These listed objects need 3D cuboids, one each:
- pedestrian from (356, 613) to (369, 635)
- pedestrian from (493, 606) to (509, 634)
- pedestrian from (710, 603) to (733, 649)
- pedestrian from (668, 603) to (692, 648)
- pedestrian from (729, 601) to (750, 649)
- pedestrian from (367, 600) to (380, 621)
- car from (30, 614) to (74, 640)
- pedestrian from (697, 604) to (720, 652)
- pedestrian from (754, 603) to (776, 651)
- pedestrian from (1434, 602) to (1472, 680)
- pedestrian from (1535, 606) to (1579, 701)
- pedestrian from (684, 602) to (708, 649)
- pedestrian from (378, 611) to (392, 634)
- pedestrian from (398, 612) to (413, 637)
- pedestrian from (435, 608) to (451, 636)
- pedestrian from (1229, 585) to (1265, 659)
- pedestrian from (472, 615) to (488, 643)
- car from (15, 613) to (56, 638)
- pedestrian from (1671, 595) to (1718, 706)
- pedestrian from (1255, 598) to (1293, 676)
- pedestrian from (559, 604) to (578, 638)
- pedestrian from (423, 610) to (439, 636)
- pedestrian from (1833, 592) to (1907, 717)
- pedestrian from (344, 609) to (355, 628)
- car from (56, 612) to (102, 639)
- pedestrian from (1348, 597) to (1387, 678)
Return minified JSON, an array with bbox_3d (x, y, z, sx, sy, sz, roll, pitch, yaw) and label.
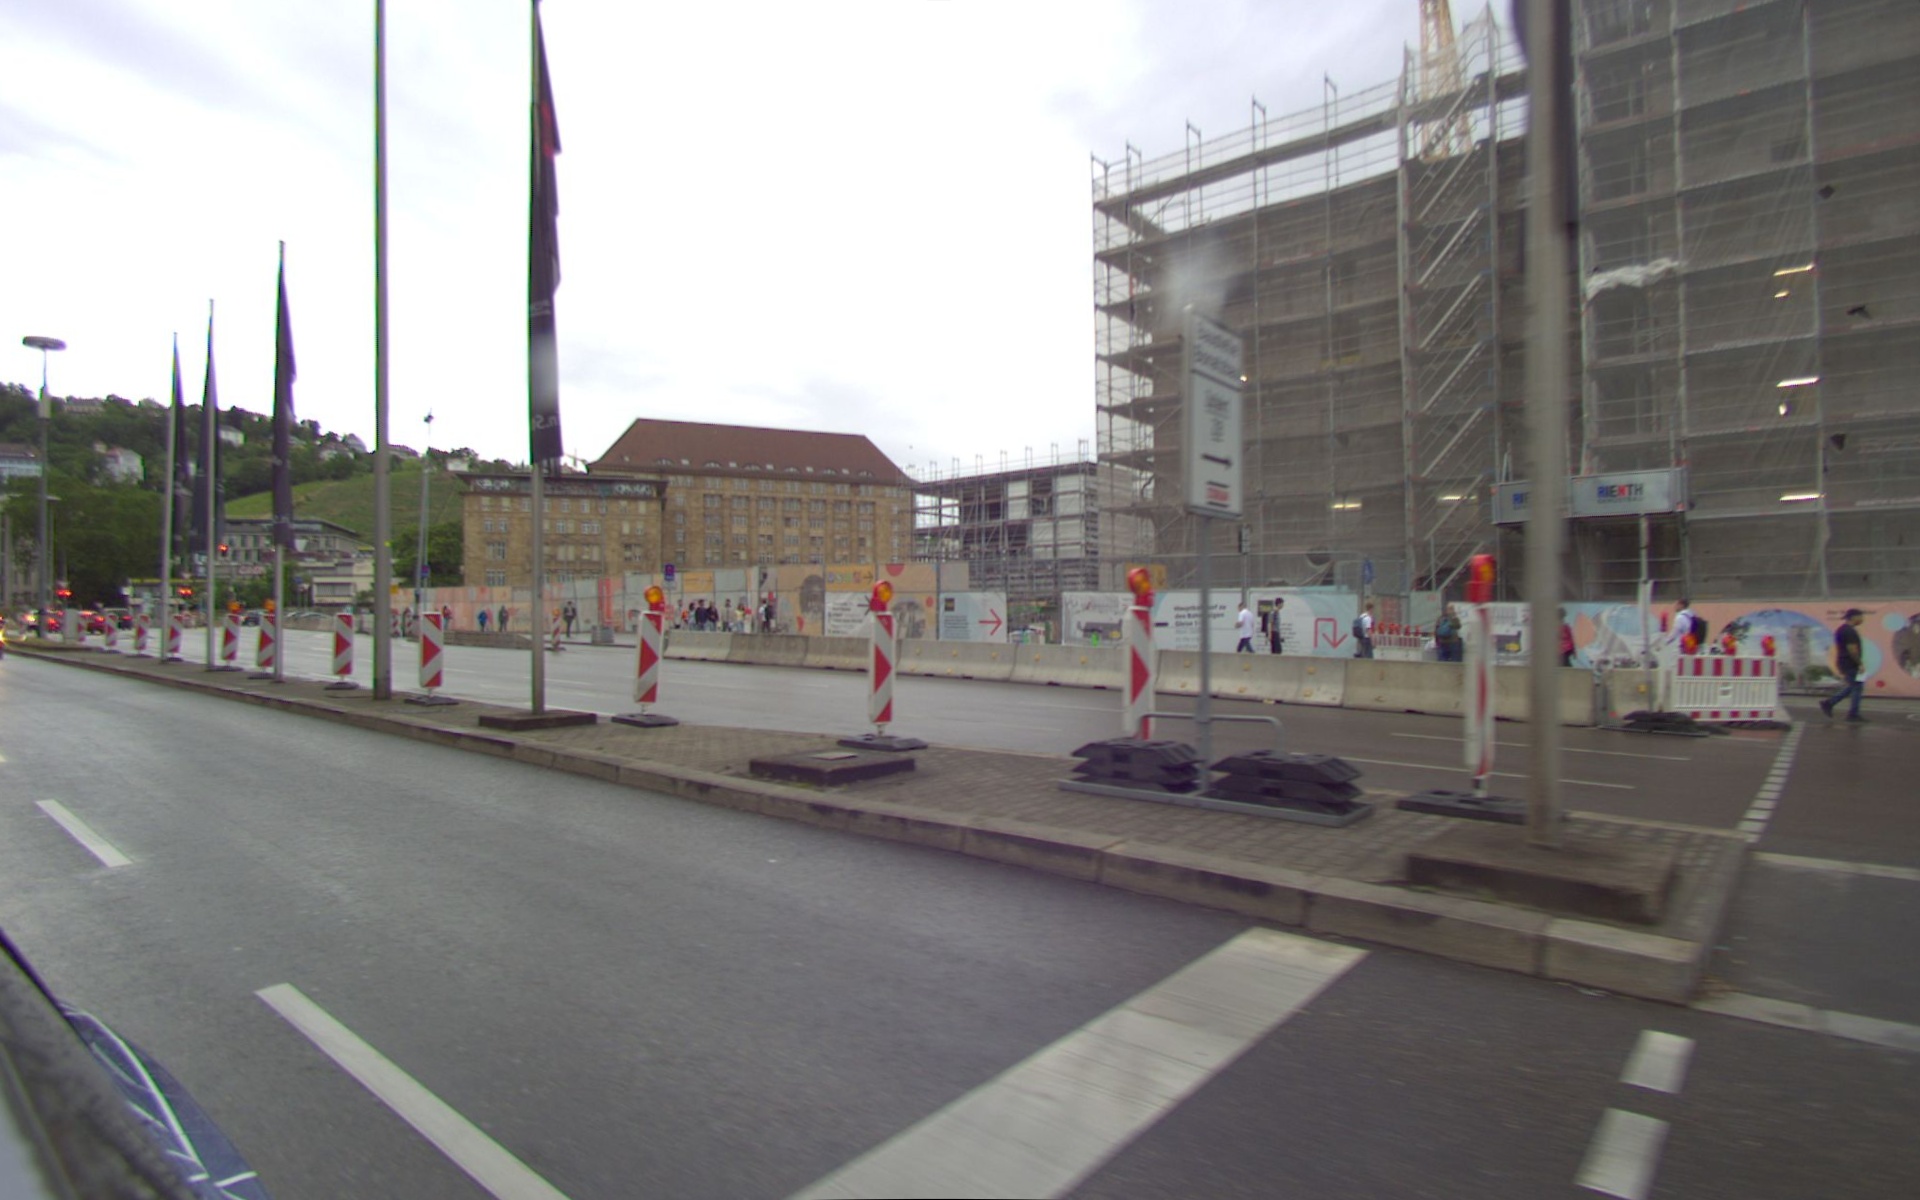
[{"bbox_3d":[-45.623,1.804,77.245,0.705,1.628,0.544,-1,1,-44],"label":"pedestrian"},{"bbox_3d":[-27.578,1.194,60.798,0.544,1.628,0.706,0,1,42],"label":"pedestrian"},{"bbox_3d":[-9.233,0.986,39.157,0.704,1.757,0.565,-1,0,-28],"label":"pedestrian"},{"bbox_3d":[-11.637,1.036,42.098,0.720,1.850,0.656,0,1,42],"label":"pedestrian"},{"bbox_3d":[-8.614,0.981,39.484,0.651,1.850,0.557,-1,0,-28],"label":"pedestrian"},{"bbox_3d":[-45.091,0.802,77.821,0.705,1.628,0.544,-1,1,-44],"label":"pedestrian"},{"bbox_3d":[-63.443,1.852,70.702,3.913,1.706,1.763,0,1,40],"label":"car"},{"bbox_3d":[-9.936,1.096,40.024,0.704,1.850,0.719,-1,0,-30],"label":"pedestrian"},{"bbox_3d":[-7.586,1.030,39.345,0.717,1.850,0.475,0,0,42],"label":"pedestrian"},{"bbox_3d":[11.938,0.984,24.487,0.717,1.850,0.475,0,0,42],"label":"pedestrian"},{"bbox_3d":[11.274,0.994,19.104,0.619,1.730,0.791,0,-2,38],"label":"pedestrian"},{"bbox_3d":[-10.143,0.964,38.935,0.704,1.746,0.719,-1,0,-30],"label":"pedestrian"},{"bbox_3d":[-41.009,1.610,72.176,0.544,1.628,0.706,0,1,42],"label":"pedestrian"},{"bbox_3d":[-37.935,1.679,69.238,0.544,1.628,0.706,0,1,42],"label":"pedestrian"},{"bbox_3d":[-30.893,1.328,60.508,0.544,1.628,0.706,0,1,42],"label":"pedestrian"},{"bbox_3d":[7.344,0.549,25.901,0.717,1.850,0.475,0,0,42],"label":"pedestrian"},{"bbox_3d":[-28.867,1.731,60.890,0.544,1.628,0.706,0,1,42],"label":"pedestrian"},{"bbox_3d":[-68.519,1.872,74.985,3.913,1.706,1.763,0,1,40],"label":"car"},{"bbox_3d":[13.033,0.878,17.967,0.618,1.904,0.792,0,0,33],"label":"pedestrian"},{"bbox_3d":[7.648,0.879,24.649,0.717,1.850,0.579,0,1,42],"label":"pedestrian"},{"bbox_3d":[-19.163,1.041,49.514,0.544,1.628,0.706,0,1,42],"label":"pedestrian"},{"bbox_3d":[-33.614,1.456,64.281,0.544,1.628,0.706,0,1,42],"label":"pedestrian"},{"bbox_3d":[13.889,0.806,15.462,0.819,1.850,0.572,0,1,42],"label":"pedestrian"},{"bbox_3d":[-52.452,1.603,86.998,0.705,1.628,0.544,-1,1,-44],"label":"pedestrian"},{"bbox_3d":[-57.679,1.659,66.216,3.915,1.707,1.762,-1,-1,41],"label":"car"},{"bbox_3d":[9.570,0.863,23.780,0.717,1.850,0.475,0,0,42],"label":"pedestrian"}]
